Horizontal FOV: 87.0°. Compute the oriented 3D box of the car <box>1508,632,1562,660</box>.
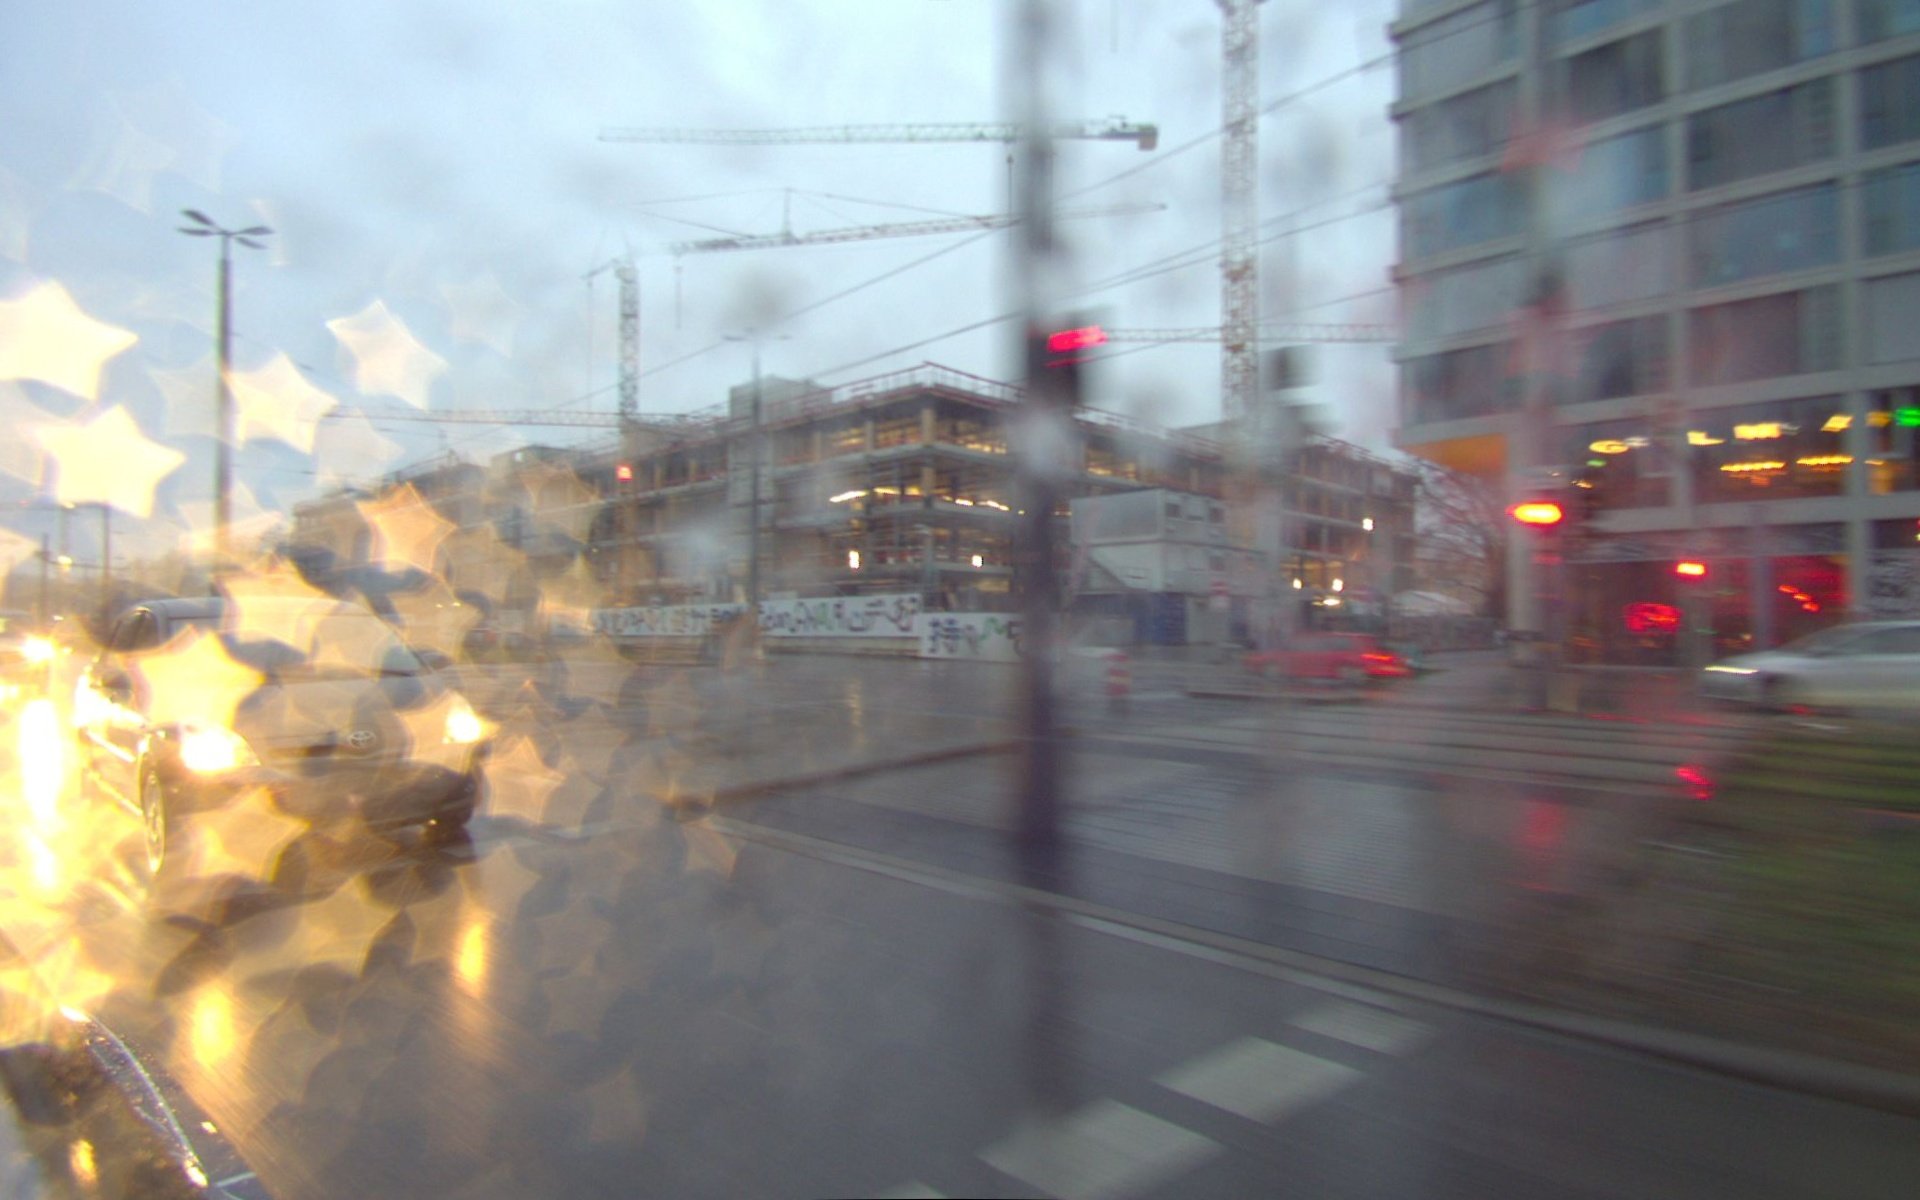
[{"bbox_3d":[34.855,2.750,61.318,1.888,1.586,3.941,-2,-2,45],"label":"car"}]

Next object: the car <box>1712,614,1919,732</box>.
[{"bbox_3d":[15.415,1.156,16.716,4.599,1.803,1.860,-1,-1,44],"label":"car"}]

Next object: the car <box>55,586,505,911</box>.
[{"bbox_3d":[-4.877,0.757,7.020,4.000,1.606,1.740,-1,-1,43],"label":"car"}]

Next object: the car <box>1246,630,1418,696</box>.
[{"bbox_3d":[10.129,1.668,27.725,1.859,1.586,4.004,0,-1,-43],"label":"car"}]

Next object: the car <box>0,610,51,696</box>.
[{"bbox_3d":[-21.288,1.126,22.132,4.001,1.746,1.832,-1,-1,44],"label":"car"}]
